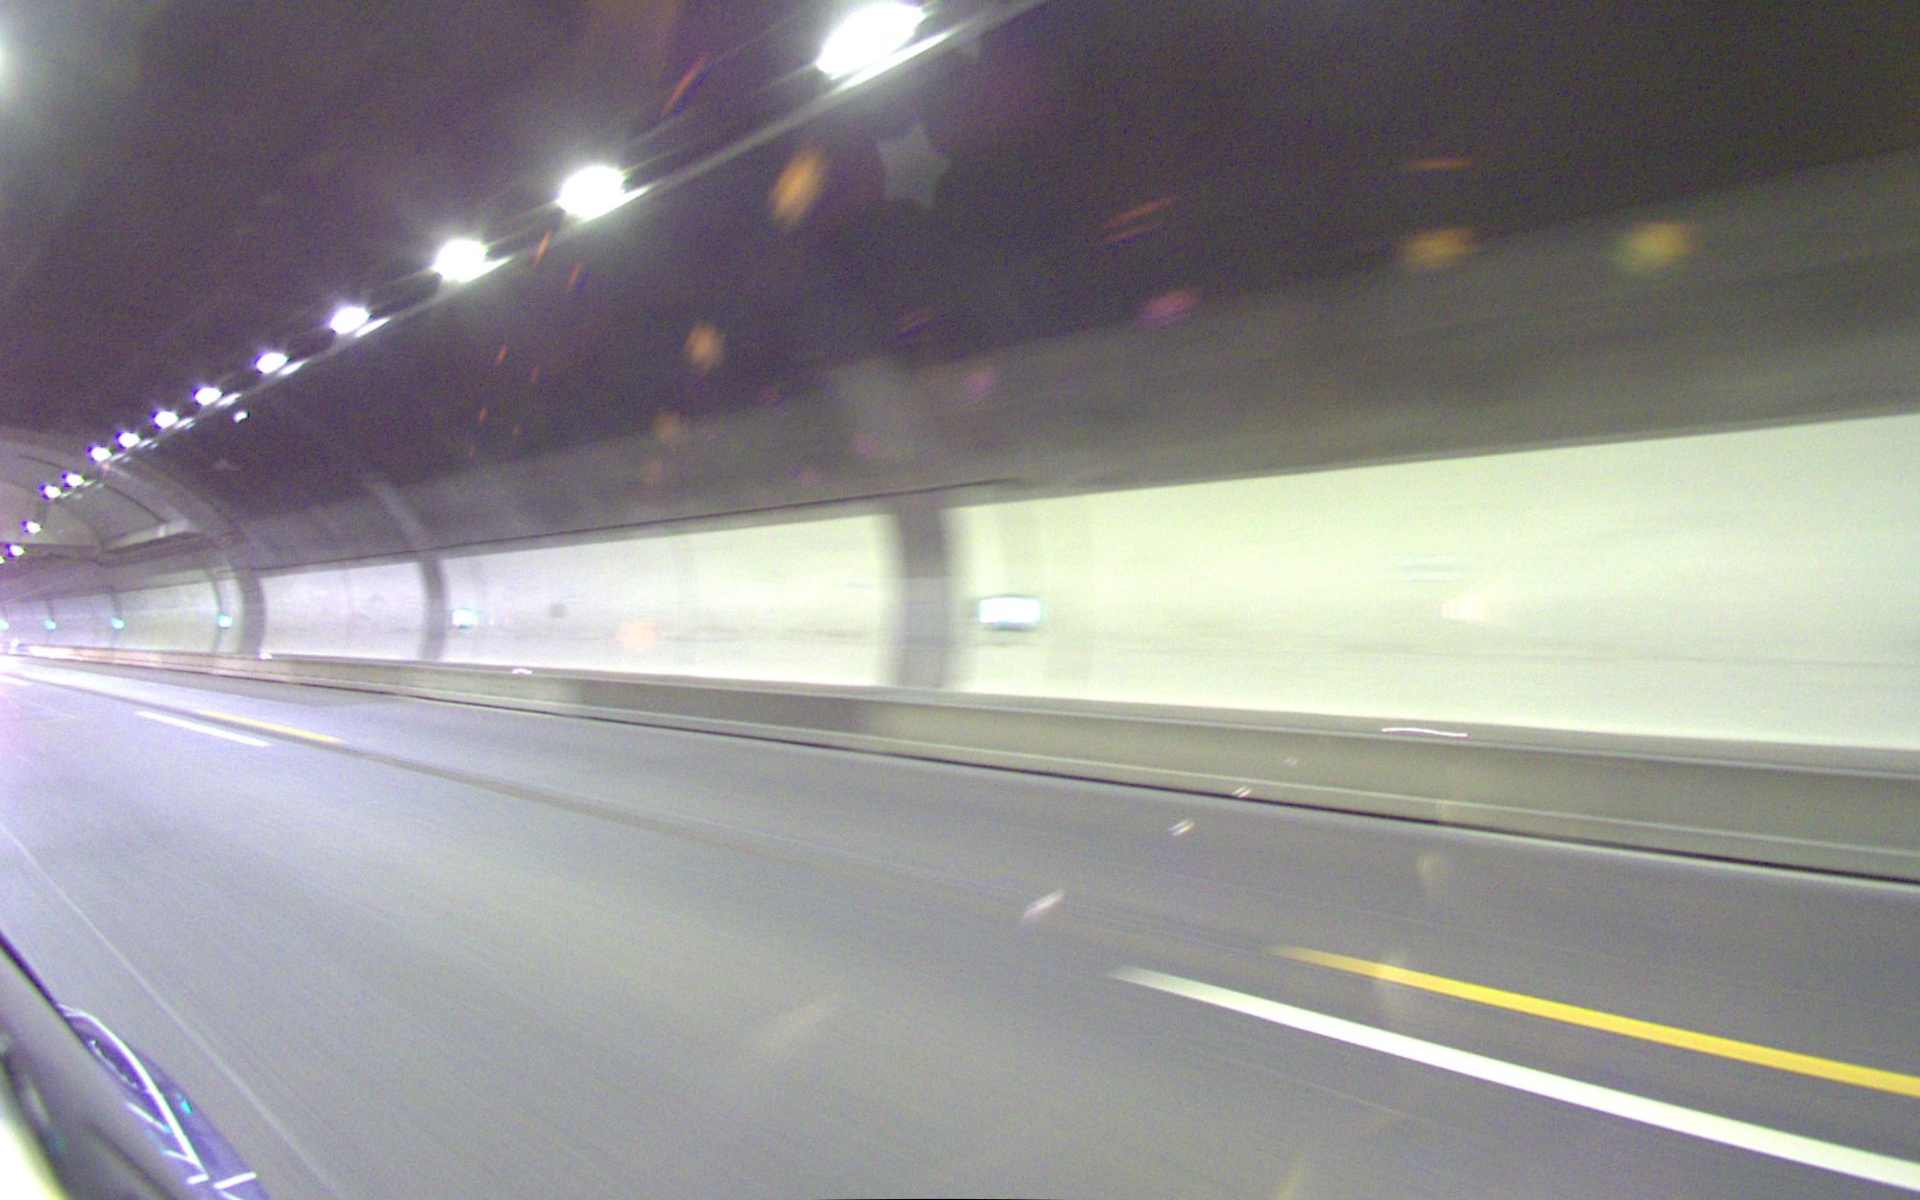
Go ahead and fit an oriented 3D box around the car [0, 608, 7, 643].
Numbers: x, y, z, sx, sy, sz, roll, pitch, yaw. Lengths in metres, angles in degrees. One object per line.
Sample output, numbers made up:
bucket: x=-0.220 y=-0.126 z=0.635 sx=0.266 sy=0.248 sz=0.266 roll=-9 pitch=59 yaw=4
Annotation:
car: x=-45.592 y=1.194 z=46.603 sx=4.849 sy=1.552 sz=1.973 roll=0 pitch=2 yaw=41
